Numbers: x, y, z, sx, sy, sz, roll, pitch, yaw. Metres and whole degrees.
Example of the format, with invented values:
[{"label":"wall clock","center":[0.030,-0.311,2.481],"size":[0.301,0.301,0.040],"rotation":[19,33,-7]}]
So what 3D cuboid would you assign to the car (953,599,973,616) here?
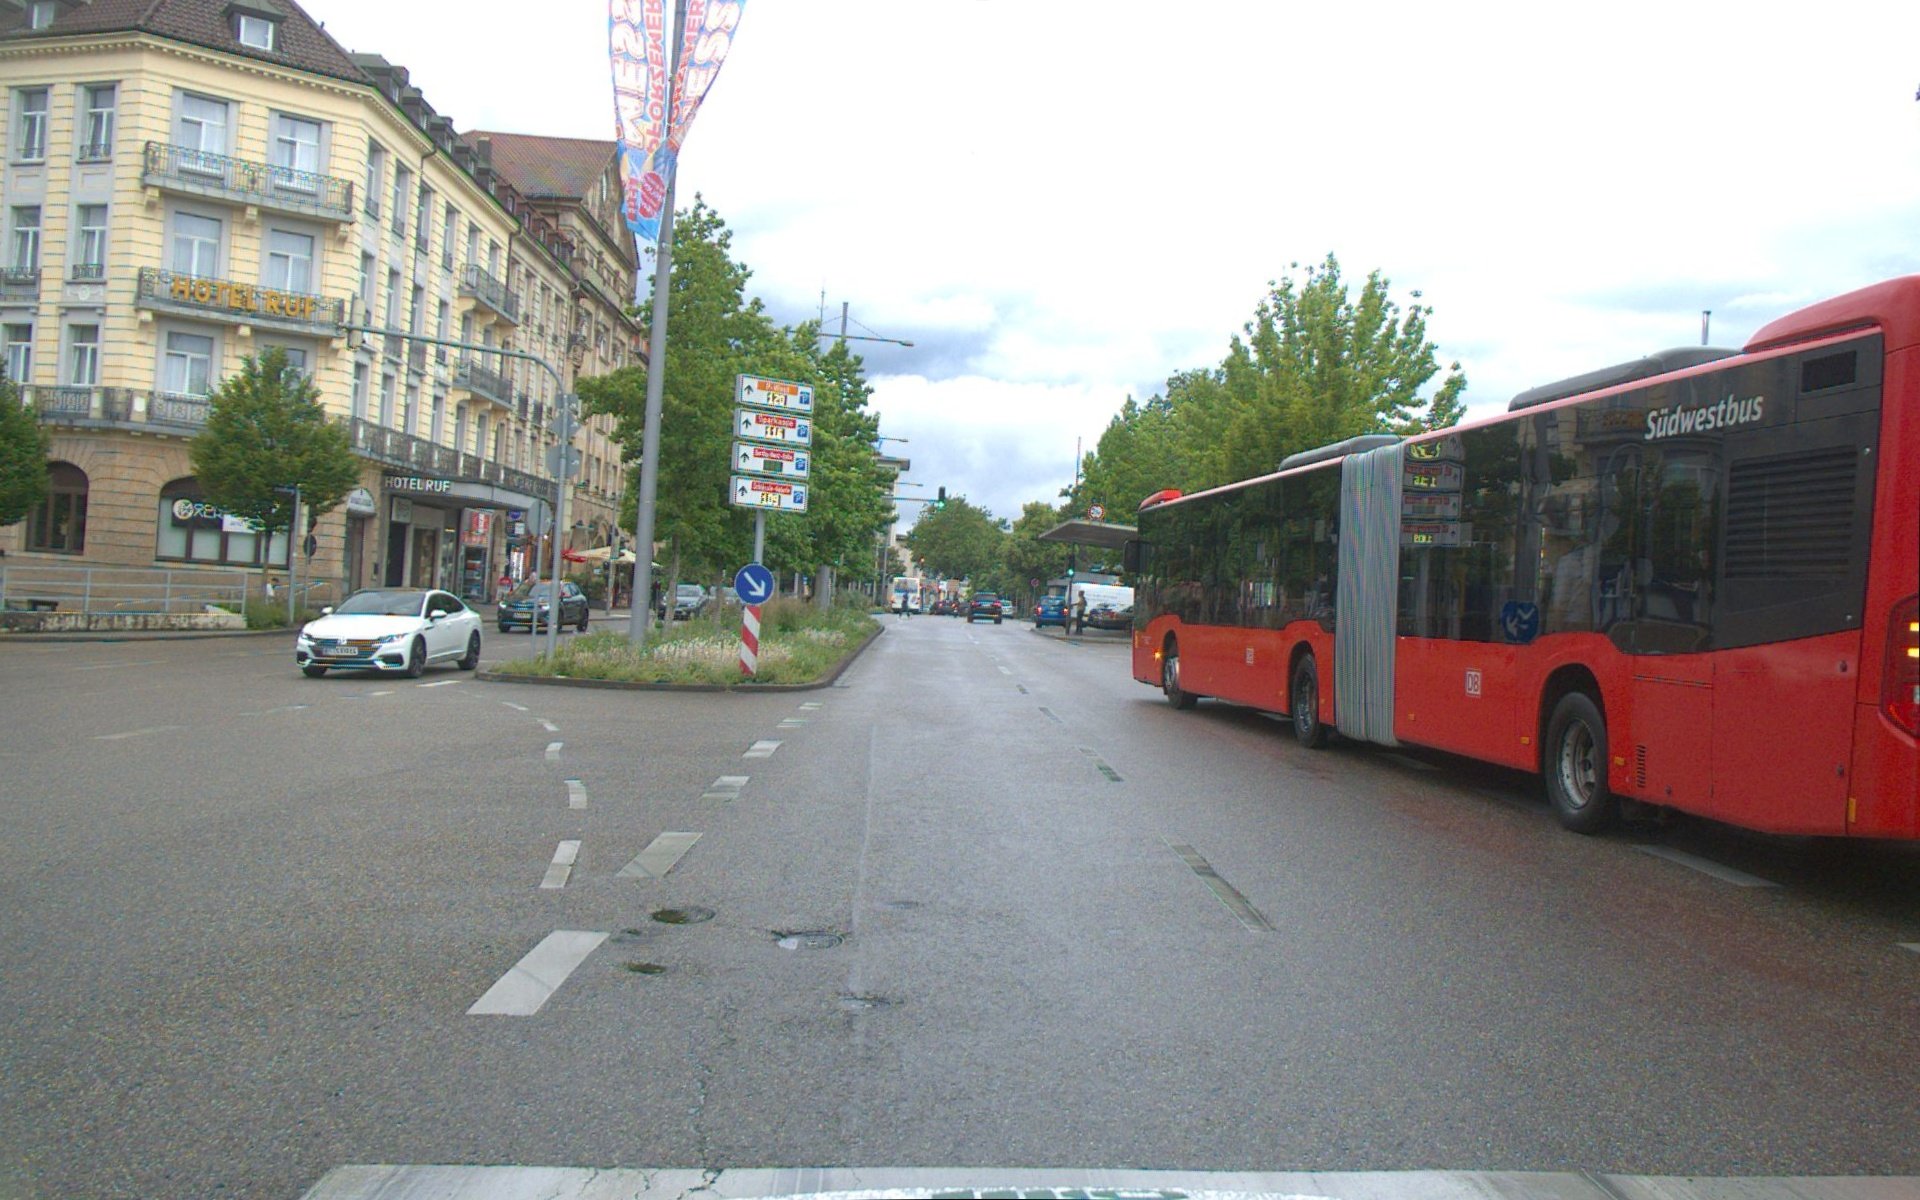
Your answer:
[{"label":"car","center":[0.240,0.662,146.003],"size":[1.673,1.473,3.999],"rotation":[1,0,-1]}]

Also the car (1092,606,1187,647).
[{"label":"car","center":[8.946,1.303,82.399],"size":[4.273,1.890,1.988],"rotation":[2,0,-21]}]

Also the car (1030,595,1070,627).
[{"label":"car","center":[4.624,0.542,85.463],"size":[1.779,1.557,3.999],"rotation":[1,0,-1]}]

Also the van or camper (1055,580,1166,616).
[{"label":"van or camper","center":[9.408,-0.087,102.978],"size":[6.675,2.049,2.364],"rotation":[1,-1,-27]}]

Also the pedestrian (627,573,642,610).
[{"label":"pedestrian","center":[-15.767,-0.427,80.041],"size":[0.563,1.762,0.609],"rotation":[2,0,-1]}]

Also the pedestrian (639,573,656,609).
[{"label":"pedestrian","center":[-15.138,-0.423,80.051],"size":[0.661,1.731,0.633],"rotation":[2,0,-1]}]

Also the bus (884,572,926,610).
[{"label":"bus","center":[-5.123,-0.821,155.604],"size":[3.684,3.265,15.521],"rotation":[1,0,-2]}]

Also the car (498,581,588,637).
[{"label":"car","center":[-12.106,0.255,48.262],"size":[1.597,1.502,4.026],"rotation":[2,0,0]}]

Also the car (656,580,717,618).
[{"label":"car","center":[-11.374,-0.036,68.891],"size":[1.718,1.466,4.060],"rotation":[2,0,2]}]

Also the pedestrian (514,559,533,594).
[{"label":"pedestrian","center":[-19.518,-1.066,73.918],"size":[0.656,1.537,0.512],"rotation":[1,0,-39]}]

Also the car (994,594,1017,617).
[{"label":"car","center":[3.932,0.441,143.087],"size":[1.752,1.892,3.999],"rotation":[2,0,-1]}]

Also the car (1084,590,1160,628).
[{"label":"car","center":[9.477,0.531,96.788],"size":[3.929,2.049,1.988],"rotation":[2,0,-21]}]

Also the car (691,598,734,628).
[{"label":"car","center":[-12.263,0.626,82.146],"size":[1.720,1.393,4.057],"rotation":[2,0,-3]}]

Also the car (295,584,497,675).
[{"label":"car","center":[-9.389,0.488,27.981],"size":[1.689,1.406,4.859],"rotation":[0,-1,1]}]

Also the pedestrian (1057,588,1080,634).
[{"label":"pedestrian","center":[4.370,0.443,66.692],"size":[0.705,1.822,0.663],"rotation":[2,0,-12]}]

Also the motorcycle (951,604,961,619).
[{"label":"motorcycle","center":[-0.292,0.903,129.454],"size":[0.750,1.095,2.175],"rotation":[2,0,-1]}]

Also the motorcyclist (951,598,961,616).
[{"label":"motorcyclist","center":[-0.292,0.541,129.622],"size":[0.749,1.355,0.866],"rotation":[2,0,-1]}]

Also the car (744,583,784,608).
[{"label":"car","center":[-11.489,-0.243,97.011],"size":[1.718,1.393,4.061],"rotation":[2,0,2]}]

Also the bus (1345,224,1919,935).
[{"label":"bus","center":[5.342,-0.087,11.600],"size":[2.689,3.229,8.112],"rotation":[1,0,-5]}]

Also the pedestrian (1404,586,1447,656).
[{"label":"pedestrian","center":[13.969,0.622,49.611],"size":[0.801,2.049,0.914],"rotation":[2,0,-25]}]

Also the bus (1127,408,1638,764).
[{"label":"bus","center":[4.451,-0.137,20.377],"size":[2.690,3.229,10.182],"rotation":[1,0,-6]}]

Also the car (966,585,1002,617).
[{"label":"car","center":[1.411,0.051,99.370],"size":[1.953,1.837,4.689],"rotation":[1,0,-1]}]

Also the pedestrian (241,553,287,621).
[{"label":"pedestrian","center":[-20.073,-0.382,47.744],"size":[0.845,1.911,1.022],"rotation":[2,0,-1]}]

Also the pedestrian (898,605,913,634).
[{"label":"pedestrian","center":[-3.316,1.200,100.691],"size":[0.742,1.730,0.560],"rotation":[2,0,6]}]
